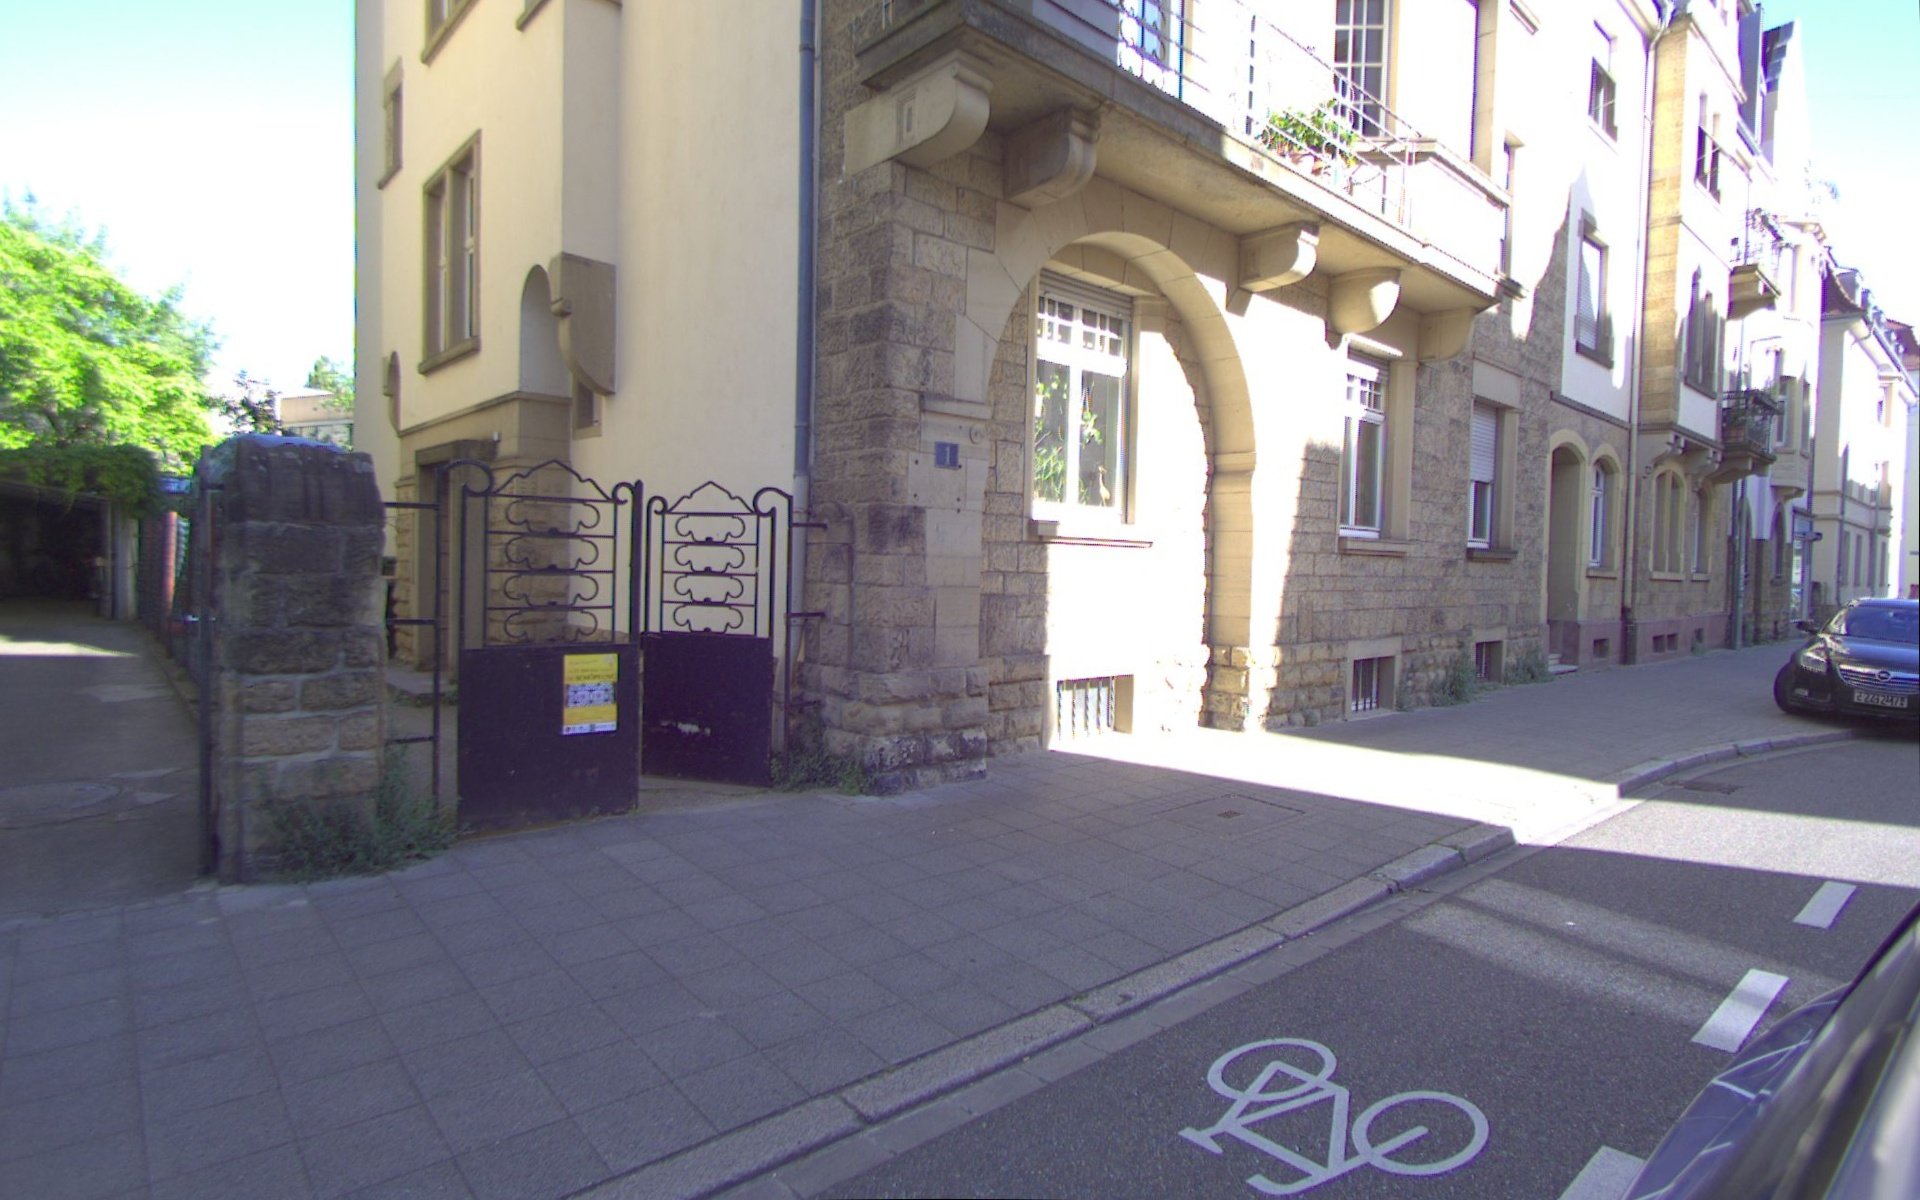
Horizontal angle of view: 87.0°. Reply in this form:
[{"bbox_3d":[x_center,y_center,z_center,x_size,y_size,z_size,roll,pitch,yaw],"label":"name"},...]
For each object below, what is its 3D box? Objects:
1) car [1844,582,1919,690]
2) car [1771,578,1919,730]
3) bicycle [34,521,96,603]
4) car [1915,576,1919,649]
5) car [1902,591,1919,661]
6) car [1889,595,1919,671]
[{"bbox_3d":[15.536,0.562,15.872,4.247,1.527,2.004,0,3,-42],"label":"car"},{"bbox_3d":[11.506,0.566,12.187,4.043,1.526,2.023,-1,5,-42],"label":"car"},{"bbox_3d":[-18.297,-0.812,20.728,0.903,1.530,2.672,0,4,-41],"label":"bicycle"},{"bbox_3d":[26.238,0.331,26.055,4.247,1.860,2.004,-1,4,-42],"label":"car"},{"bbox_3d":[22.176,0.577,22.197,4.247,1.440,1.823,-1,4,-42],"label":"car"},{"bbox_3d":[18.799,0.615,18.976,3.667,1.295,1.659,-1,4,-42],"label":"car"}]
